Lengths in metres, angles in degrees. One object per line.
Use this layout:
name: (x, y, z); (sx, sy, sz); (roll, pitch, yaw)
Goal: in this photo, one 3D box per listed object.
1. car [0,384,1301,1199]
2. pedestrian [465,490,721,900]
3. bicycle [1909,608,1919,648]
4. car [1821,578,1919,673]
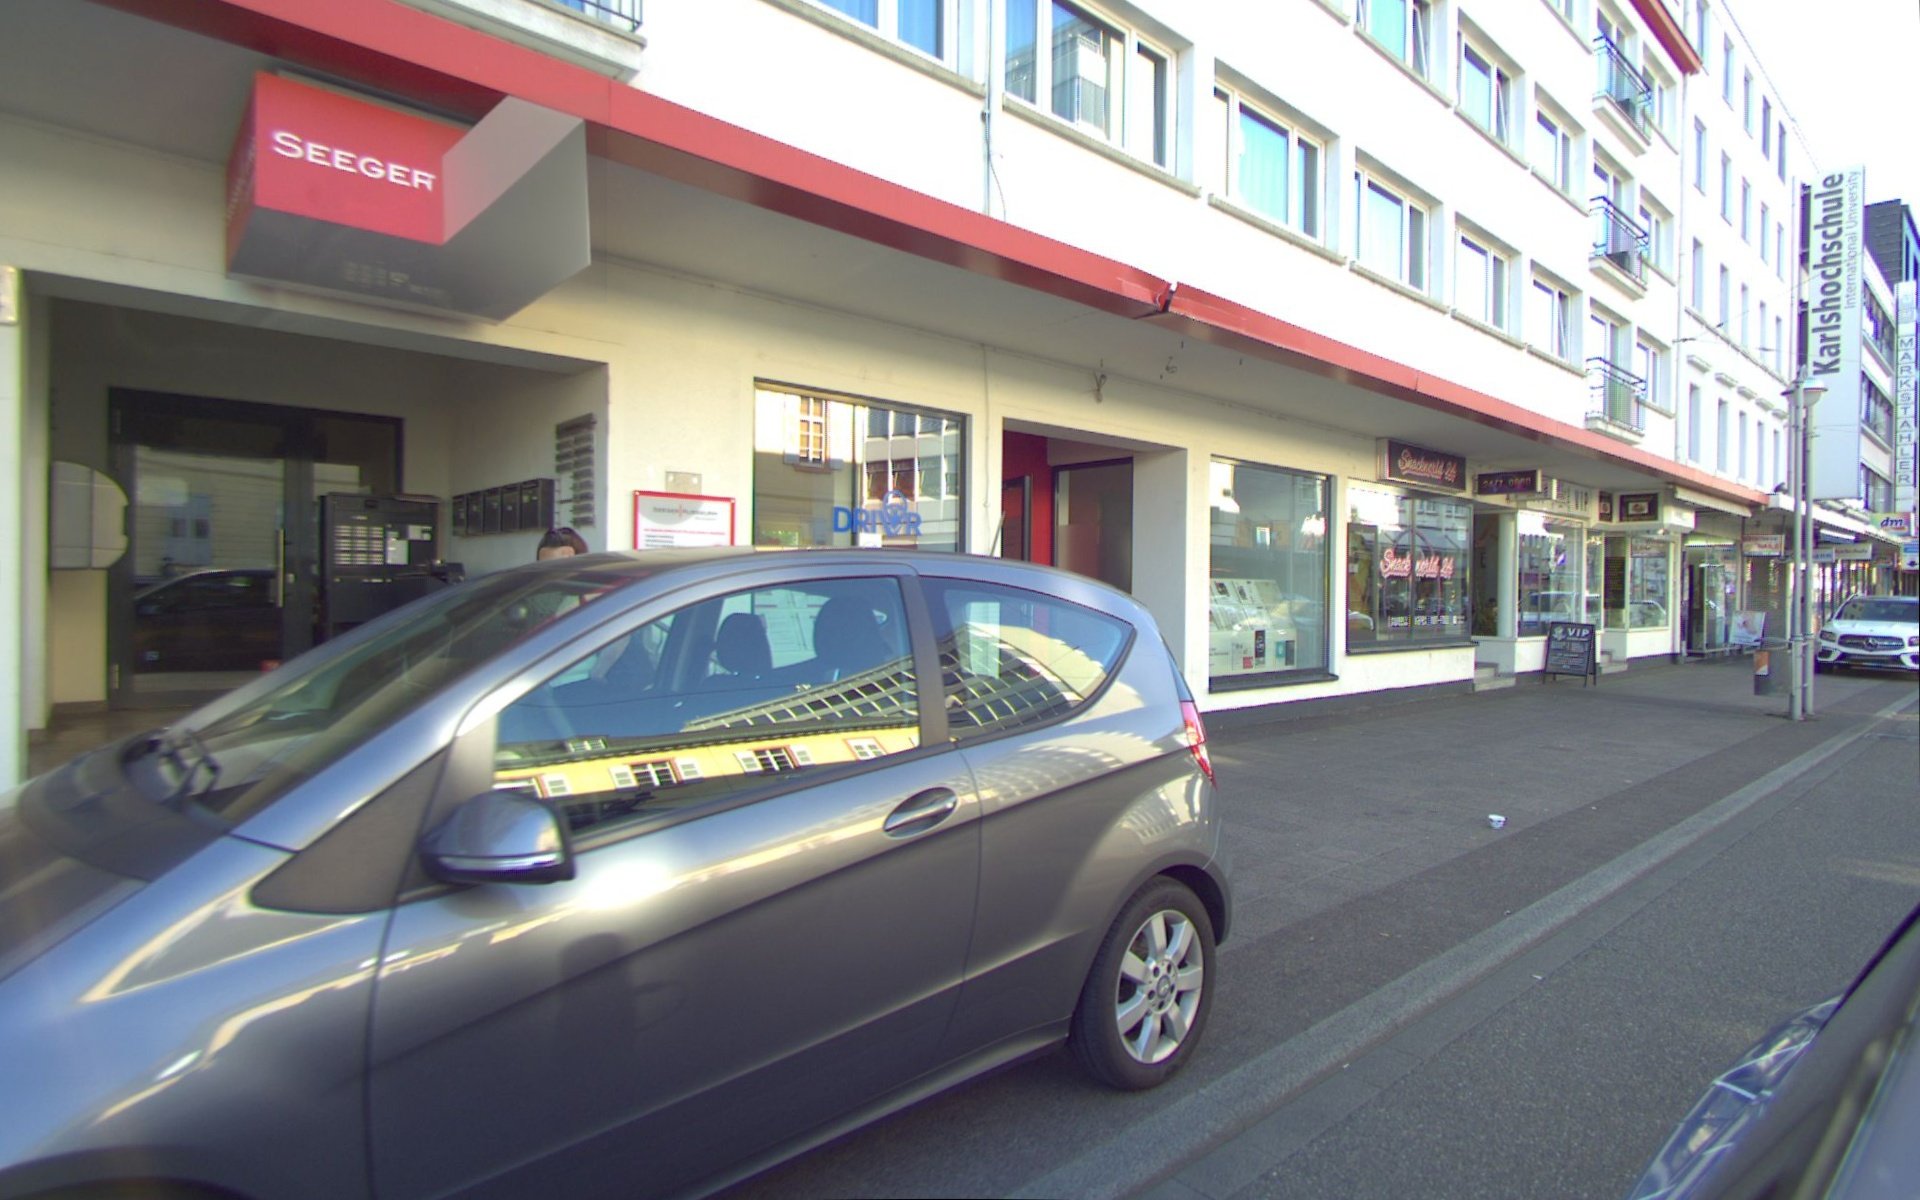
car: (-0.823, 0.526, 2.783); (3.585, 1.652, 1.748); (0, 2, -41)
pedestrian: (-1.817, 0.405, 5.048); (0.802, 1.796, 0.920); (1, 1, 38)
bicycle: (26.760, 0.785, 27.658); (0.314, 1.093, 1.133); (0, 3, -42)
car: (19.723, 0.463, 21.215); (5.104, 1.745, 1.852); (-1, 3, -42)
